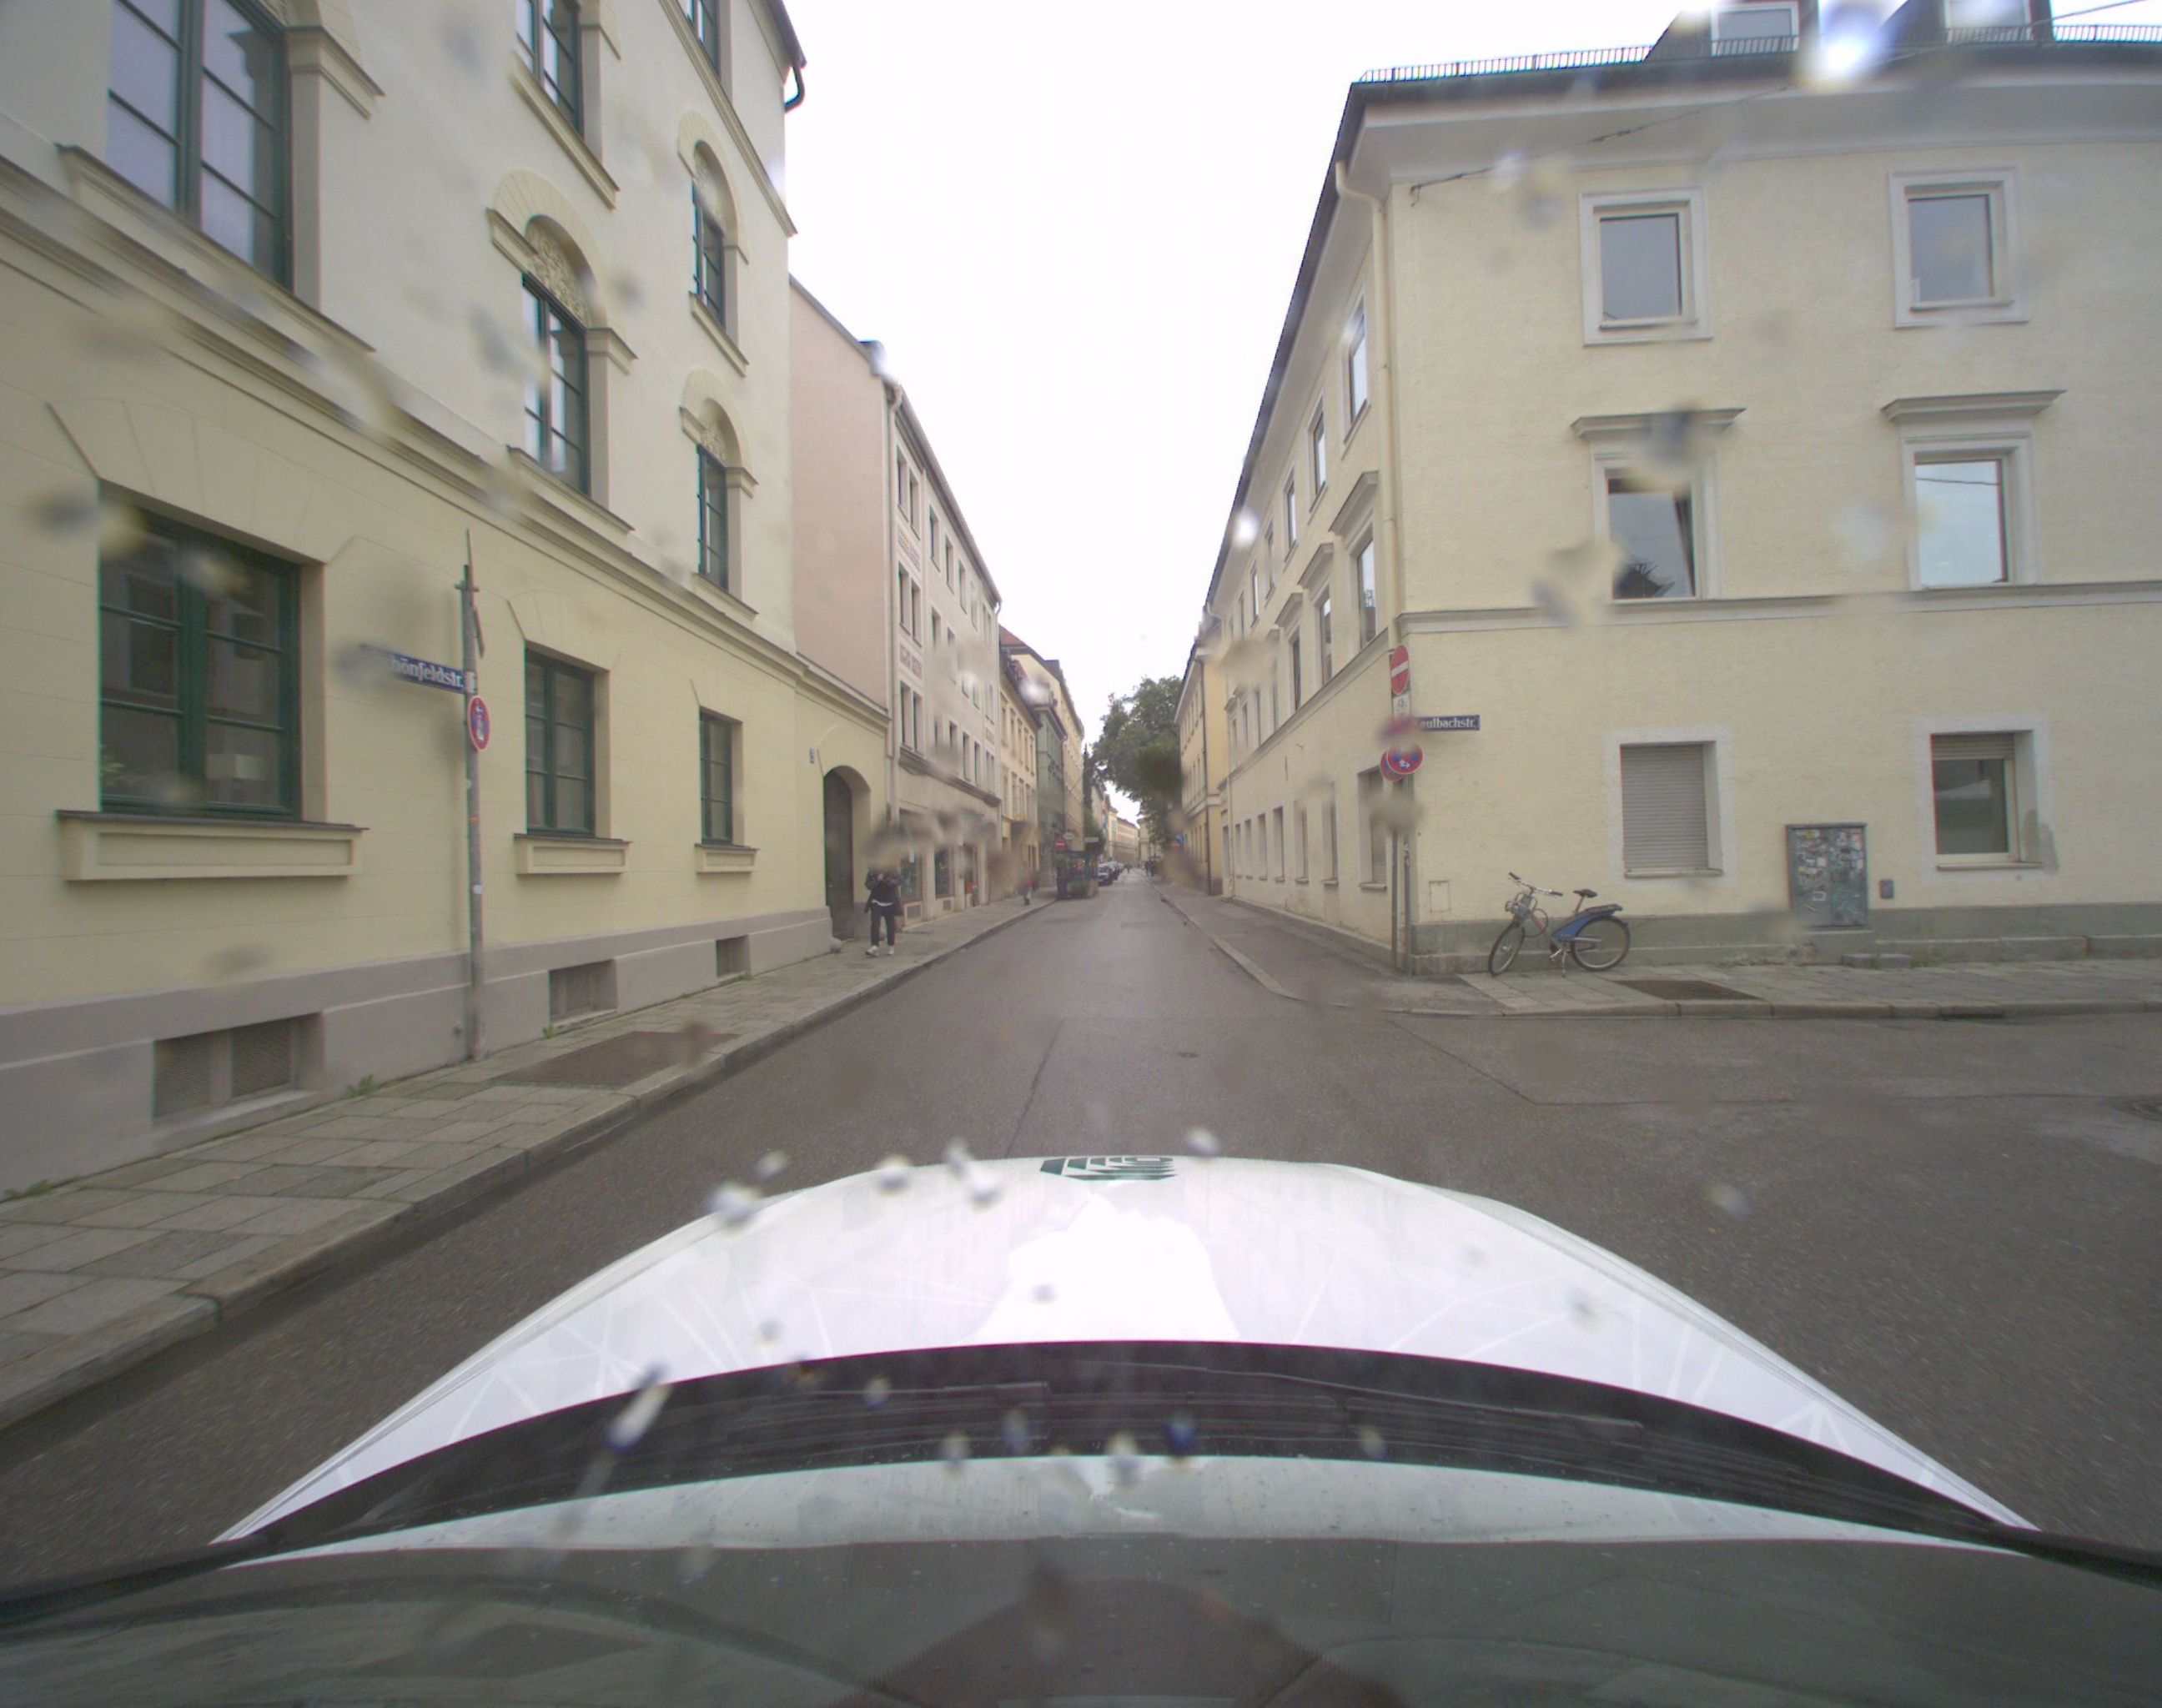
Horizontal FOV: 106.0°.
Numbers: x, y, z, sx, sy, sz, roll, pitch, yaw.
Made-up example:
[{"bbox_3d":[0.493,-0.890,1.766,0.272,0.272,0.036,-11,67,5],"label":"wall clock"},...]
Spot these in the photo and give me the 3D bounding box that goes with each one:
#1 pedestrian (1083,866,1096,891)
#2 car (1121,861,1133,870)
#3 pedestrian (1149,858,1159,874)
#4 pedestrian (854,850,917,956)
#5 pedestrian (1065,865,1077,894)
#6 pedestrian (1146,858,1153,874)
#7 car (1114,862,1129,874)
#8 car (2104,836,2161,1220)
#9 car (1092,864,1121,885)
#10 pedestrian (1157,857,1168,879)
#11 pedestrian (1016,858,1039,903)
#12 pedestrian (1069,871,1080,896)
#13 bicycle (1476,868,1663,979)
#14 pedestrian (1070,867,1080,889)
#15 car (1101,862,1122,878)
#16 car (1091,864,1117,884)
[{"bbox_3d":[0.490,1.325,44.166,0.671,1.327,0.696,-1,-1,1],"label":"pedestrian"},{"bbox_3d":[7.676,1.890,135.165,1.770,1.466,3.548,-1,-1,6],"label":"car"},{"bbox_3d":[7.965,1.297,88.807,1.011,1.802,1.350,-1,-1,4],"label":"pedestrian"},{"bbox_3d":[-3.378,0.820,14.139,0.806,1.755,0.990,-1,0,1],"label":"pedestrian"},{"bbox_3d":[-0.456,1.206,38.093,0.508,1.327,0.631,-1,-1,1],"label":"pedestrian"},{"bbox_3d":[7.965,1.385,95.125,0.790,1.802,0.904,-1,-1,4],"label":"pedestrian"},{"bbox_3d":[5.428,1.835,108.816,1.770,1.466,3.548,-1,-1,6],"label":"car"},{"bbox_3d":[5.979,0.639,2.199,3.996,1.440,1.767,-1,1,5],"label":"car"},{"bbox_3d":[1.878,1.464,59.497,1.770,1.466,3.669,-1,-1,6],"label":"car"},{"bbox_3d":[6.903,1.174,68.825,0.876,1.802,1.047,-1,-1,4],"label":"pedestrian"},{"bbox_3d":[-2.069,1.017,31.610,0.763,1.708,0.785,-2,-1,1],"label":"pedestrian"},{"bbox_3d":[-0.318,1.394,39.071,0.508,1.187,0.631,-1,-1,1],"label":"pedestrian"},{"bbox_3d":[5.579,0.781,9.364,1.750,1.144,0.586,-2,2,3],"label":"bicycle"},{"bbox_3d":[-0.340,1.334,45.632,0.508,1.237,0.631,-1,-1,1],"label":"pedestrian"},{"bbox_3d":[2.979,1.570,79.149,1.770,1.466,3.548,-1,-1,6],"label":"car"},{"bbox_3d":[1.827,1.538,64.218,1.770,1.466,3.548,-1,-1,6],"label":"car"}]
